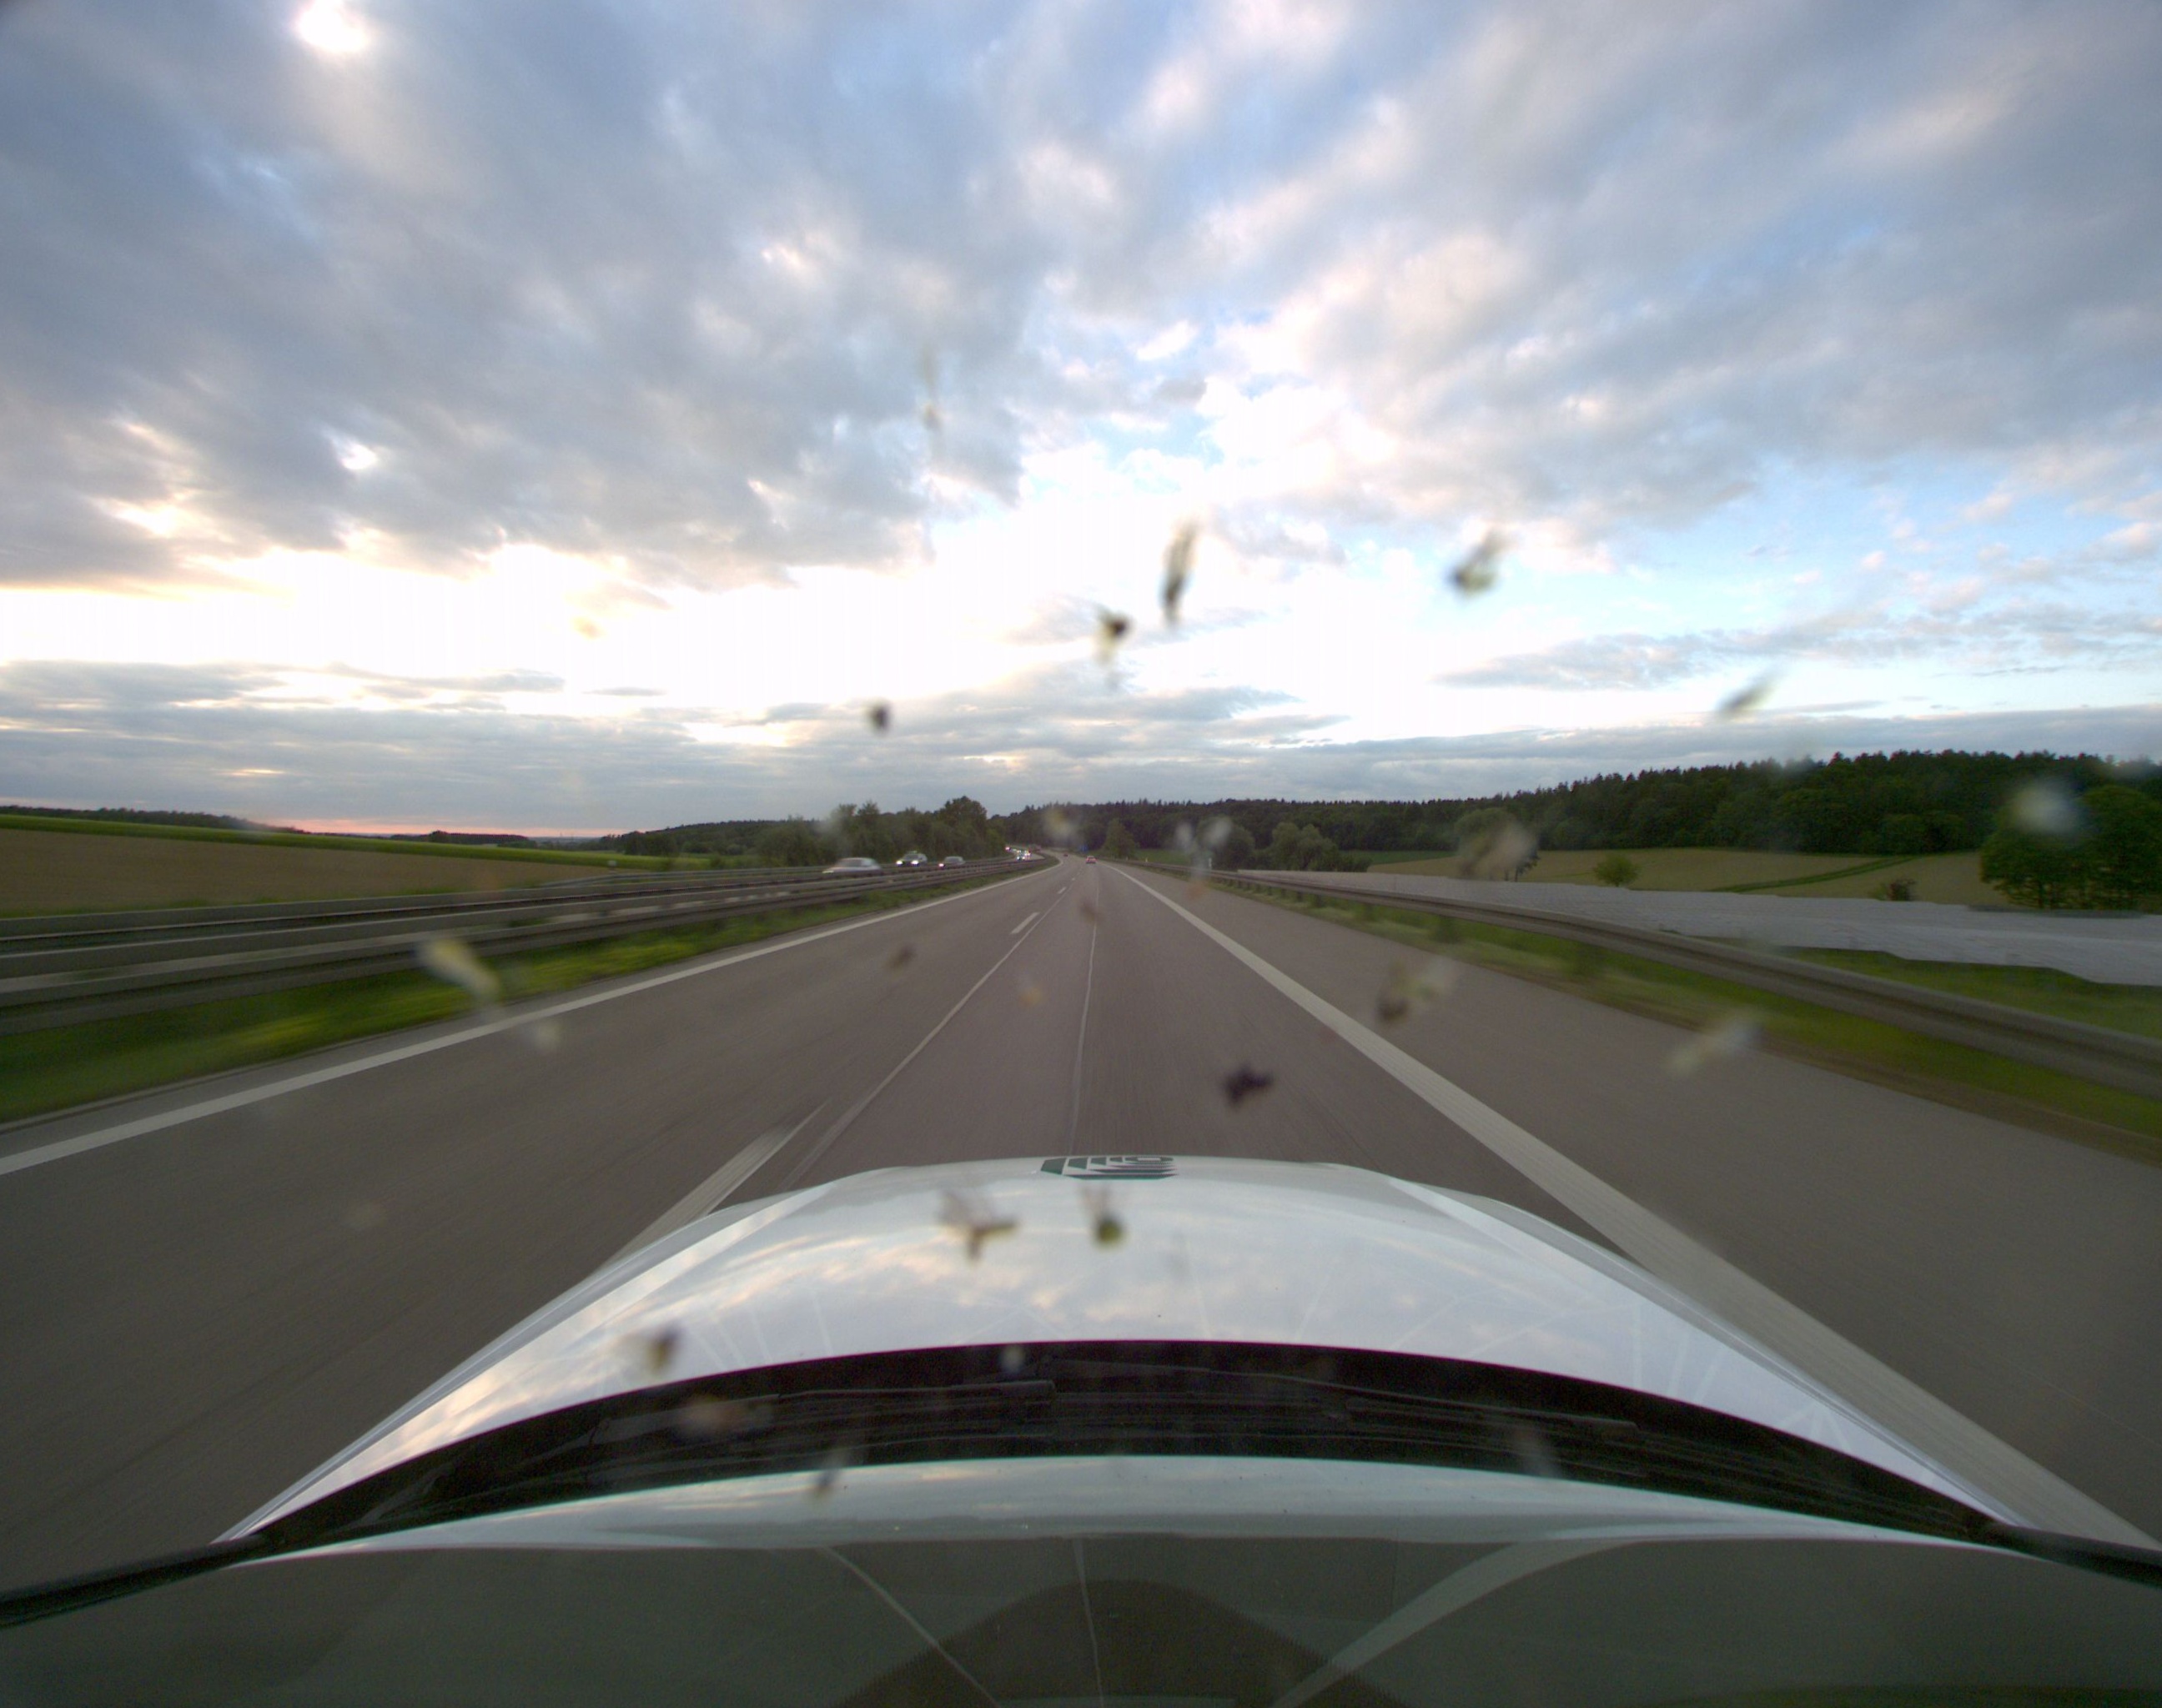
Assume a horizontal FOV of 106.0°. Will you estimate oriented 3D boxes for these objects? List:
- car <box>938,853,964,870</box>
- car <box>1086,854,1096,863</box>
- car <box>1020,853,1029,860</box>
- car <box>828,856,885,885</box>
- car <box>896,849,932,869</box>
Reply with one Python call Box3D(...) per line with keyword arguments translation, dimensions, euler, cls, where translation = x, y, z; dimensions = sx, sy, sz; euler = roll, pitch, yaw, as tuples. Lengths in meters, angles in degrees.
Box3D(translation=(-11.389, 0.640, 71.594), dimensions=(1.655, 1.440, 4.129), euler=(2, 0, -1), cls="car")
Box3D(translation=(1.977, 0.860, 159.841), dimensions=(1.945, 1.531, 4.080), euler=(2, 0, 0), cls="car")
Box3D(translation=(-15.116, 0.618, 217.705), dimensions=(1.986, 1.627, 5.737), euler=(2, 0, 1), cls="car")
Box3D(translation=(-11.812, 0.813, 43.089), dimensions=(1.560, 1.365, 4.622), euler=(2, 0, 2), cls="car")
Box3D(translation=(-15.209, 0.460, 74.595), dimensions=(1.879, 1.693, 5.771), euler=(2, 0, 2), cls="car")
